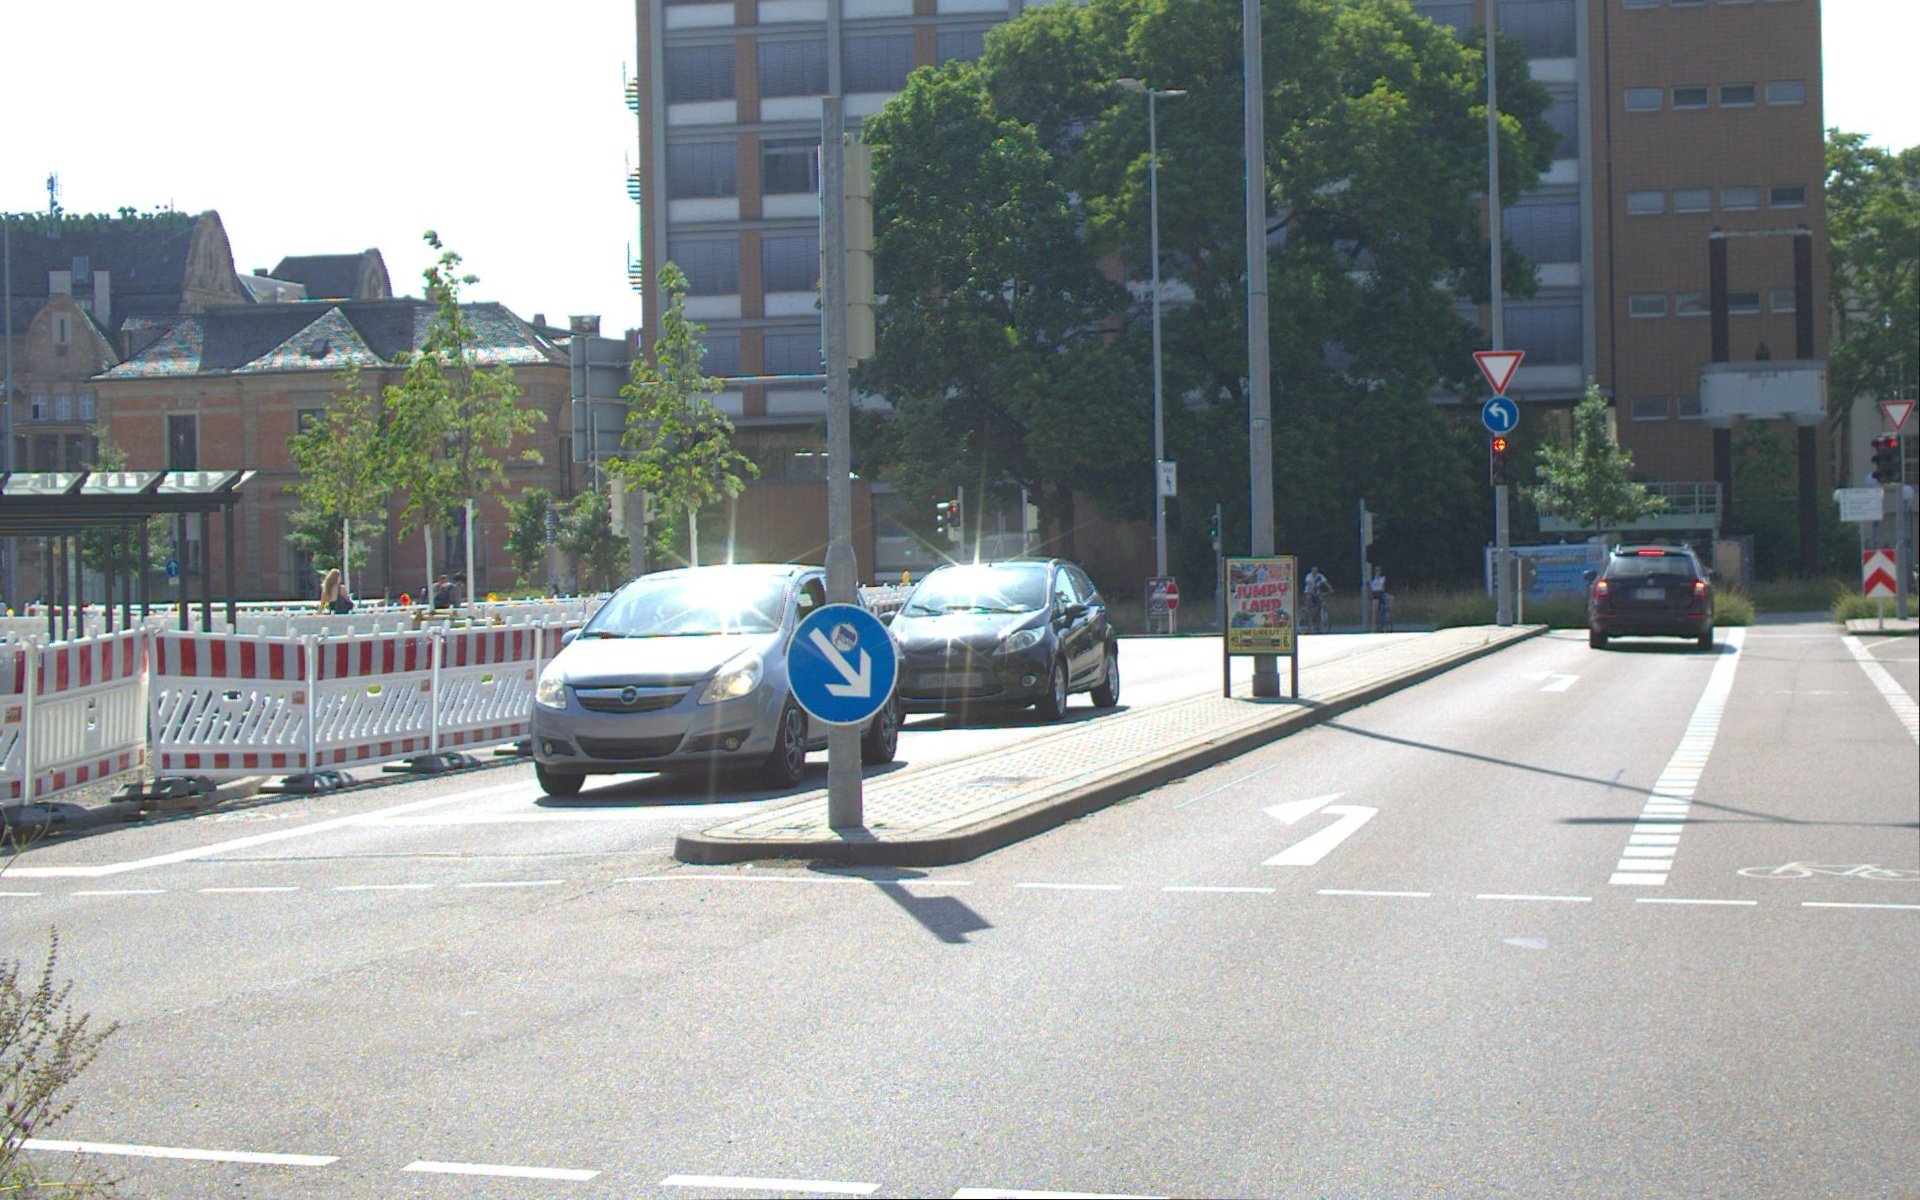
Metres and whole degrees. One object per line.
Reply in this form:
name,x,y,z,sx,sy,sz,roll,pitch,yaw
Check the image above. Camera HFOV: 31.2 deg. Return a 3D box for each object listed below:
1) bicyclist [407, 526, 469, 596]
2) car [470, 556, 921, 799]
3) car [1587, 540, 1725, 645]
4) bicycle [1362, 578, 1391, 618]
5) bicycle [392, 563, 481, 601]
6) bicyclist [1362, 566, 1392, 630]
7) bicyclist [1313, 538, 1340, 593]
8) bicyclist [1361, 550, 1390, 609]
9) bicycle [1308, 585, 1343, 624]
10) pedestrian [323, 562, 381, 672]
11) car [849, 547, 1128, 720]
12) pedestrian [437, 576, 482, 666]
bicyclist,-11.315,-0.849,74.546,1.167,1.469,0.563,-1,1,26
car,-1.658,0.458,23.046,1.795,1.407,3.998,-3,0,14
car,10.043,-0.138,49.454,1.781,1.438,3.815,1,1,14
bicycle,10.534,-0.062,86.891,0.618,0.957,1.967,-4,0,9
bicycle,-11.357,-0.389,74.543,1.892,0.790,0.559,-1,2,26
bicyclist,10.534,-0.062,86.891,0.618,1.576,1.013,-4,0,9
bicyclist,9.580,-0.903,89.862,0.539,1.412,1.029,-2,-1,12
bicyclist,10.505,-0.526,86.892,0.618,1.438,0.920,-4,0,9
bicycle,9.562,0.105,89.892,0.704,0.974,2.030,-2,1,12
pedestrian,-9.895,0.288,55.962,0.736,1.746,1.111,-2,-2,-2
car,0.326,0.263,31.150,1.667,1.446,3.815,-1,1,14
pedestrian,-8.359,0.349,57.421,0.630,1.486,0.617,-2,0,-2
